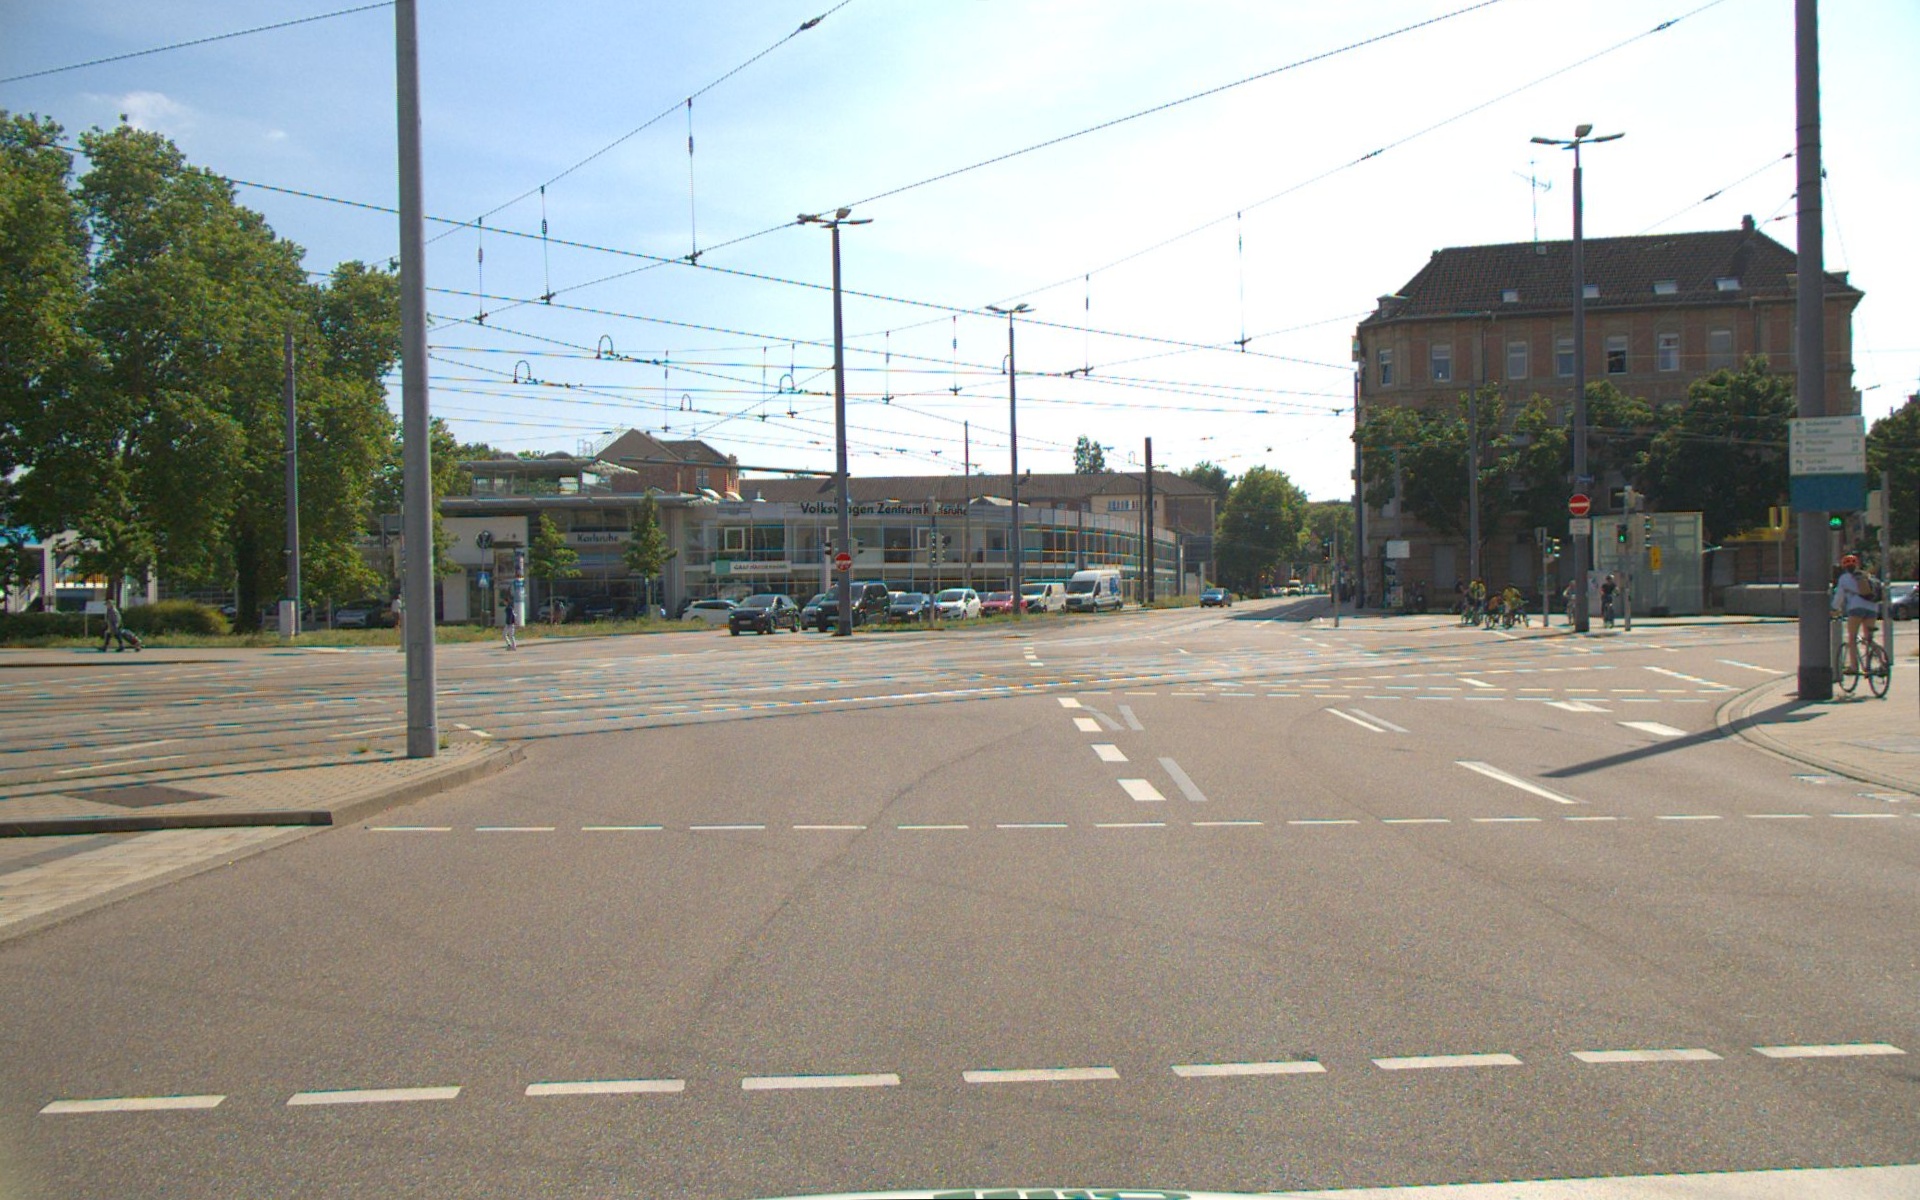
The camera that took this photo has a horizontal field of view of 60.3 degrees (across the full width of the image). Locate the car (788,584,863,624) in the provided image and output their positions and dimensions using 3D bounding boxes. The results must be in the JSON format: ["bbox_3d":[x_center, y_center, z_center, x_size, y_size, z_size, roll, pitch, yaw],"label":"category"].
[{"bbox_3d":[-5.693,0.198,70.538,1.854,1.615,4.002,-1,-1,16],"label":"car"}]

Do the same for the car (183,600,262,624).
[{"bbox_3d":[-44.945,0.701,100.893,3.906,1.395,1.999,1,0,-2],"label":"car"}]

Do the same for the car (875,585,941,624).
[{"bbox_3d":[-2.200,0.217,70.945,1.854,1.615,4.003,-1,-1,13],"label":"car"}]

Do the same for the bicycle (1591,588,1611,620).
[{"bbox_3d":[23.064,0.126,59.511,0.653,1.088,2.463,1,1,22],"label":"bicycle"}]

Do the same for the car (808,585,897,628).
[{"bbox_3d":[-4.137,0.226,64.362,1.919,1.615,4.719,-1,0,16],"label":"car"}]

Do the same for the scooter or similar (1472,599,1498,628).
[{"bbox_3d":[18.852,0.484,59.412,0.574,0.993,0.992,1,0,-1],"label":"scooter or similar"}]

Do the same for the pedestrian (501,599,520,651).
[{"bbox_3d":[-14.184,0.799,52.163,0.449,1.633,0.395,1,-1,-37],"label":"pedestrian"}]

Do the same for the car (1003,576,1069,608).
[{"bbox_3d":[4.265,-0.472,92.294,2.140,1.710,5.029,-1,0,21],"label":"car"}]

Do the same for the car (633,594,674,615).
[{"bbox_3d":[-18.410,0.265,99.513,1.793,1.216,3.998,1,0,-2],"label":"car"}]

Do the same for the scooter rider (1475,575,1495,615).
[{"bbox_3d":[18.865,-0.193,59.468,0.575,1.422,0.406,1,-1,-1],"label":"scooter rider"}]

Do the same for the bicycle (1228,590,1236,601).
[{"bbox_3d":[30.006,-0.519,182.335,0.736,1.215,2.841,1,0,13],"label":"bicycle"}]

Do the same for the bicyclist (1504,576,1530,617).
[{"bbox_3d":[20.481,-0.148,60.834,0.907,1.477,1.252,1,1,18],"label":"bicyclist"}]

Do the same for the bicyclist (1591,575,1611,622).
[{"bbox_3d":[22.795,-0.069,58.814,0.653,1.652,0.782,1,1,22],"label":"bicyclist"}]

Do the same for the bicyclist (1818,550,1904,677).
[{"bbox_3d":[12.514,0.181,22.985,0.699,1.698,0.875,-3,0,7],"label":"bicyclist"}]

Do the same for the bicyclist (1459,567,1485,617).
[{"bbox_3d":[19.207,-0.293,62.082,0.907,1.852,1.053,1,-1,18],"label":"bicyclist"}]

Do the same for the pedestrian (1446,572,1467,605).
[{"bbox_3d":[22.296,-0.504,74.276,0.608,1.458,0.703,1,-1,-38],"label":"pedestrian"}]

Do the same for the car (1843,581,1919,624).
[{"bbox_3d":[35.707,0.077,62.831,3.929,1.611,1.628,-1,0,-21],"label":"car"}]

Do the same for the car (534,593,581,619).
[{"bbox_3d":[-24.268,0.347,99.836,1.953,1.512,3.998,1,0,-2],"label":"car"}]

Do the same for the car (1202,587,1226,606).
[{"bbox_3d":[19.465,-0.263,126.599,1.355,1.439,3.013,1,0,18],"label":"car"}]

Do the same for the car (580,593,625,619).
[{"bbox_3d":[-21.540,0.336,99.852,1.953,1.512,3.998,1,0,-2],"label":"car"}]

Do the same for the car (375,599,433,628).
[{"bbox_3d":[-33.759,0.834,100.517,1.951,1.713,4.002,1,0,4],"label":"car"}]

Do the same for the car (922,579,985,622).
[{"bbox_3d":[-0.294,0.065,78.268,1.854,1.950,4.203,-1,-1,16],"label":"car"}]

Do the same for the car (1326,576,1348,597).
[{"bbox_3d":[37.854,-1.372,166.008,2.063,2.049,4.003,0,0,13],"label":"car"}]

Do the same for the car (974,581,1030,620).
[{"bbox_3d":[2.196,0.050,85.206,1.854,1.950,4.203,-1,-1,16],"label":"car"}]

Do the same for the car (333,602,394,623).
[{"bbox_3d":[-36.063,0.748,100.087,1.951,1.266,4.002,1,0,4],"label":"car"}]

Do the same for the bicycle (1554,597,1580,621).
[{"bbox_3d":[22.809,0.331,62.161,0.489,0.881,1.588,1,1,4],"label":"bicycle"}]

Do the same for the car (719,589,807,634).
[{"bbox_3d":[-7.521,0.456,63.694,1.851,1.615,4.213,-1,-1,16],"label":"car"}]

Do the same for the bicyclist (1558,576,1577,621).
[{"bbox_3d":[22.808,-0.056,62.121,0.489,1.649,0.650,1,0,4],"label":"bicyclist"}]

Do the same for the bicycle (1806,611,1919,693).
[{"bbox_3d":[12.550,0.696,22.992,0.699,1.033,2.022,-3,0,7],"label":"bicycle"}]

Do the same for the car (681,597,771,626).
[{"bbox_3d":[-12.312,0.602,87.065,4.487,1.461,1.445,1,0,13],"label":"car"}]

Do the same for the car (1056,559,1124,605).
[{"bbox_3d":[7.883,-1.029,99.600,2.165,2.620,5.870,1,0,25],"label":"car"}]

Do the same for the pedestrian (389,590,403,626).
[{"bbox_3d":[-25.691,0.380,75.341,0.384,1.624,0.464,1,-1,23],"label":"pedestrian"}]

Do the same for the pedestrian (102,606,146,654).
[{"bbox_3d":[-25.211,0.910,49.880,1.098,1.428,0.652,1,-1,-23],"label":"pedestrian"}]

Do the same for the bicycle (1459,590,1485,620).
[{"bbox_3d":[19.227,0.188,62.156,0.907,1.088,2.748,1,0,16],"label":"bicycle"}]

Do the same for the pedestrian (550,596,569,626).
[{"bbox_3d":[-21.905,0.610,90.448,0.934,1.607,0.534,1,-1,-4],"label":"pedestrian"}]

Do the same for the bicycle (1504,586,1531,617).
[{"bbox_3d":[20.602,0.047,61.153,0.907,1.088,2.842,1,1,18],"label":"bicycle"}]

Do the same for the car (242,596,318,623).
[{"bbox_3d":[-42.730,0.585,103.972,3.907,1.579,1.999,-1,0,-3],"label":"car"}]

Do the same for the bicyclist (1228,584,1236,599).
[{"bbox_3d":[30.019,-0.927,182.393,0.736,1.595,1.088,1,-1,13],"label":"bicyclist"}]
